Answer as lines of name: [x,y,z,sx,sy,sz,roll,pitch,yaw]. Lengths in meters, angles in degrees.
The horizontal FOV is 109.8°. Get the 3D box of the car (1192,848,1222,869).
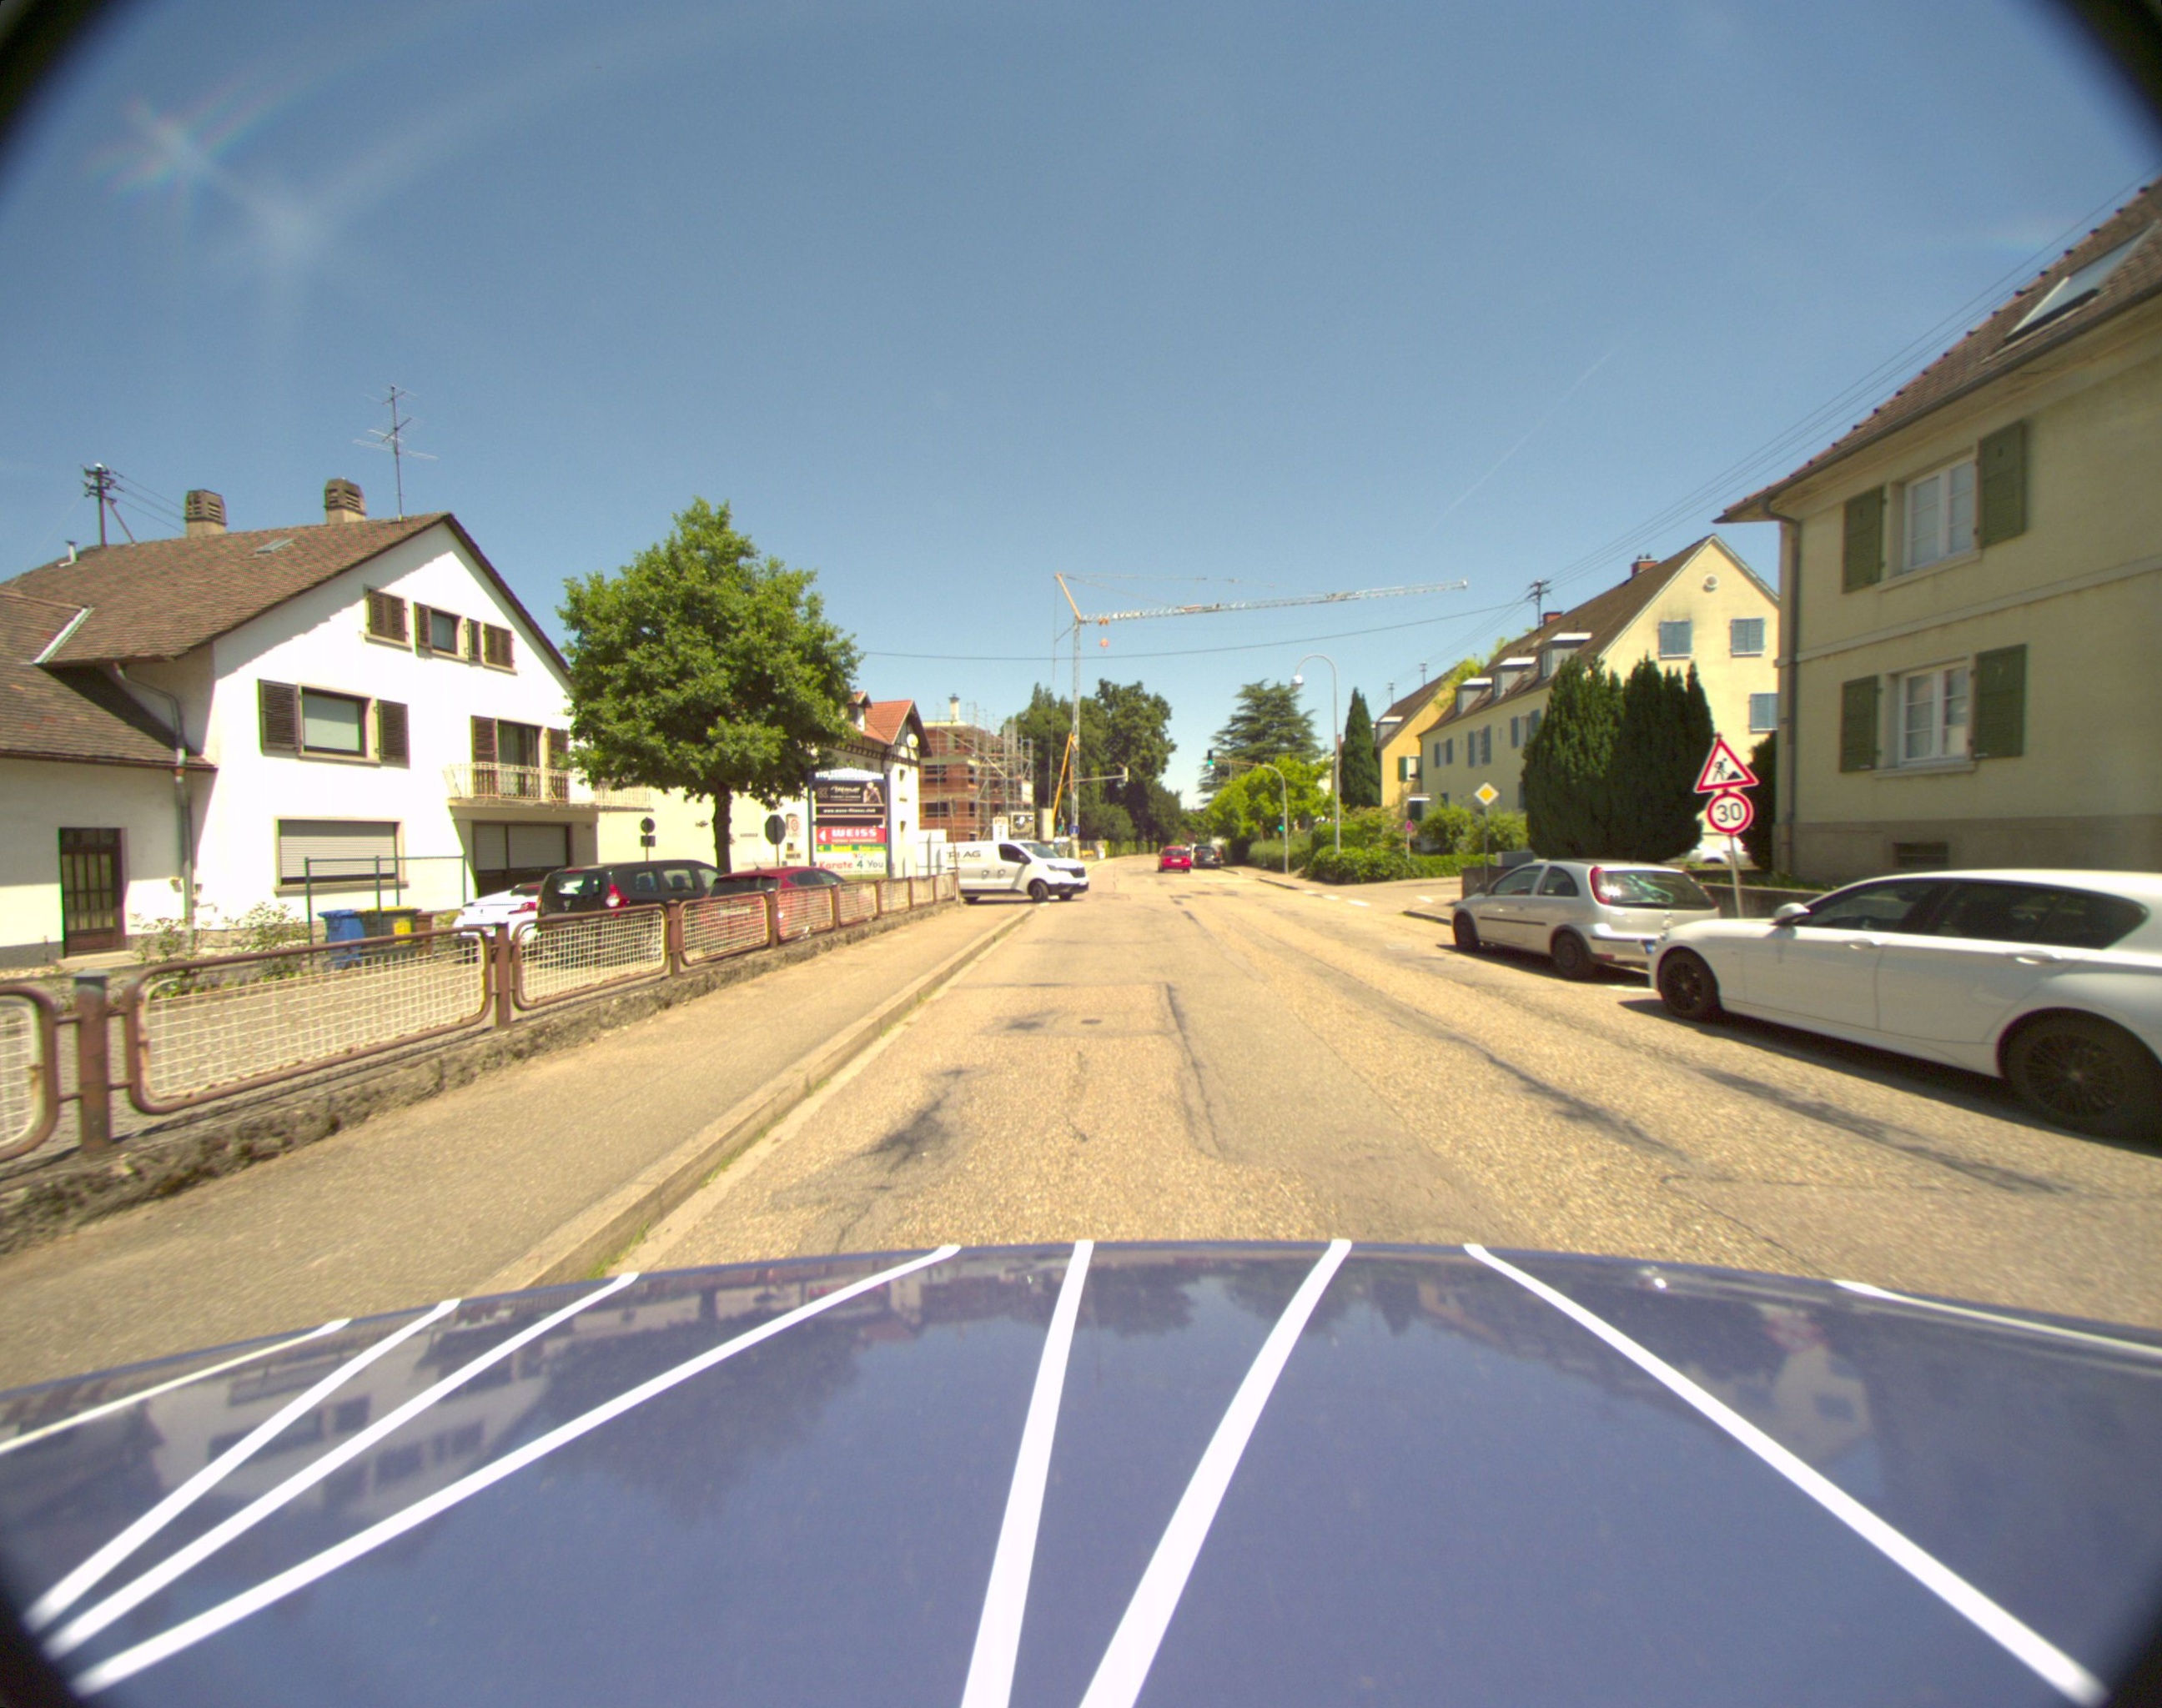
car: [8.902,0.279,53.885,1.684,1.404,3.927,1,1,4]

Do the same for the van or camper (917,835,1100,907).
van or camper: [-2.314,0.558,23.989,5.349,1.968,2.002,-3,3,26]

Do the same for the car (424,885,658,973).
car: [-10.019,1.333,14.448,1.715,1.263,3.386,-2,1,8]

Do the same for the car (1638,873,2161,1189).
car: [6.216,0.944,5.117,1.799,1.394,4.218,2,1,0]

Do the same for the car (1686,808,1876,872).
car: [19.931,-0.414,21.781,3.587,1.448,1.749,-5,2,9]

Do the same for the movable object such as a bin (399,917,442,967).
movable object such as a bin: [-11.794,1.571,13.577,0.397,0.849,0.386,-1,2,9]

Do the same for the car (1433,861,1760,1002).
car: [6.563,0.867,10.302,1.763,1.439,3.923,0,1,0]

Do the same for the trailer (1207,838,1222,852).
trailer: [19.916,-1.325,113.208,1.816,2.022,4.003,2,2,13]

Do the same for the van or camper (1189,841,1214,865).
van or camper: [9.331,-0.103,59.004,1.684,1.794,3.986,1,1,6]

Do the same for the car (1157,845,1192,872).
car: [5.737,0.255,46.972,1.818,1.557,3.696,0,1,2]

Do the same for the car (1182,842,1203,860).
car: [9.429,-0.312,64.272,1.684,1.433,4.249,1,1,8]

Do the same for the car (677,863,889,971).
car: [-5.028,0.982,13.436,1.715,1.515,3.841,-1,1,9]

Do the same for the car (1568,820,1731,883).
car: [16.057,-0.079,21.616,3.208,1.448,1.735,-5,2,9]

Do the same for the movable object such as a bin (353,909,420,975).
movable object such as a bin: [-11.841,1.493,12.973,0.491,1.041,0.640,-1,2,10]

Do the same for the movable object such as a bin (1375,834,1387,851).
movable object such as a bin: [21.416,-0.800,54.255,0.622,1.190,0.674,-1,2,6]

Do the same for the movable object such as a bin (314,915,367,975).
movable object such as a bin: [-12.612,1.535,12.948,0.452,0.964,0.416,-1,2,9]

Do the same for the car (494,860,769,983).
car: [-7.679,1.043,13.619,1.715,1.656,4.462,-3,1,9]
